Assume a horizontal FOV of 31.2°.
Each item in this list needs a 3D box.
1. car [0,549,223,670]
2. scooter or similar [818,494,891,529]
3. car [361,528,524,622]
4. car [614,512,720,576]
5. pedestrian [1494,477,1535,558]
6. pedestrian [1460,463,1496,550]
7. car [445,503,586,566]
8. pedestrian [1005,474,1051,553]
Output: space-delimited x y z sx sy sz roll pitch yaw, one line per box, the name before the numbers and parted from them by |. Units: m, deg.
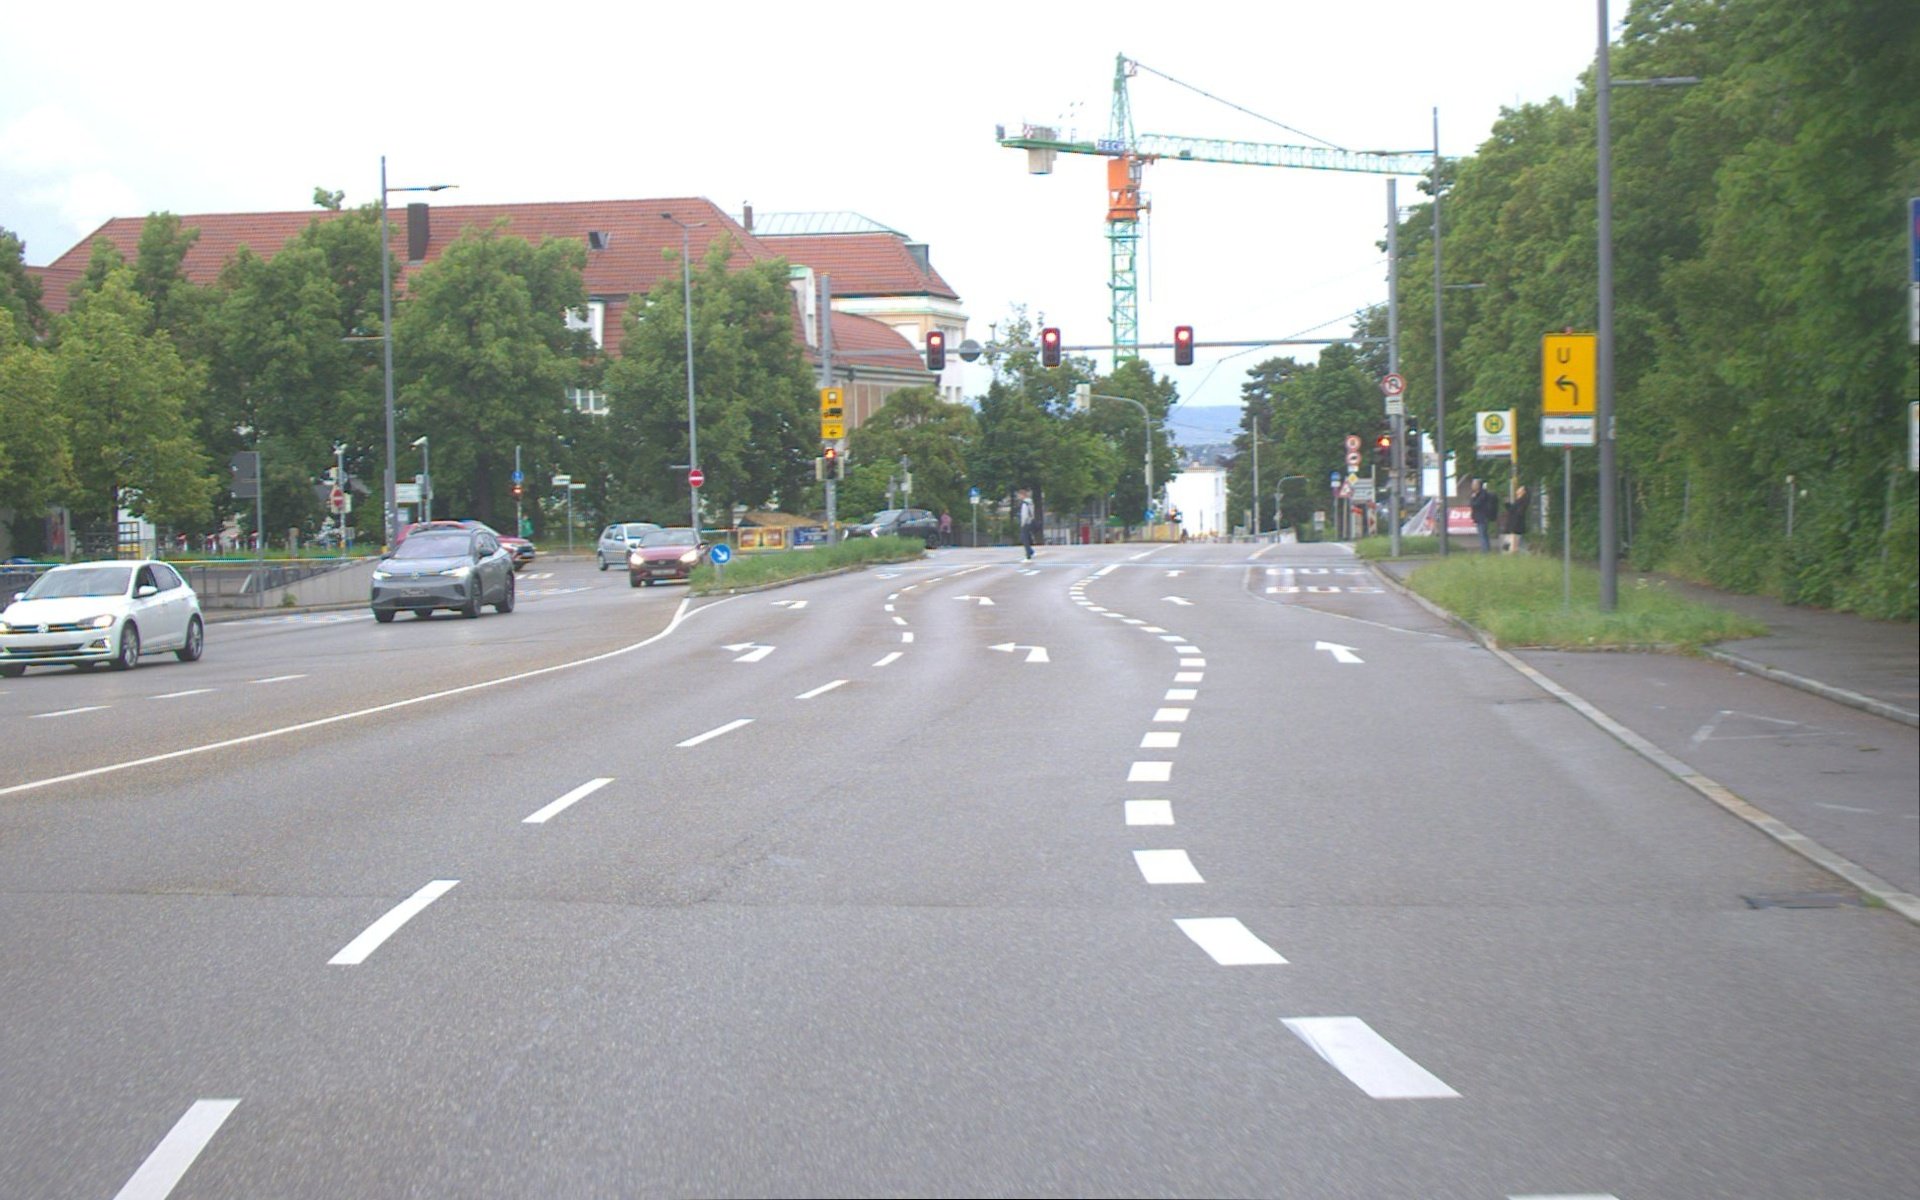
car | -11.275 0.096 45.218 1.873 1.425 4.175 -3 1 5
scooter or similar | -4.615 -3.875 150.500 3.088 1.435 0.949 -1 1 4
car | -9.464 -0.486 63.221 1.832 1.567 4.593 -3 1 5
car | -7.354 -1.428 86.730 1.832 1.411 4.465 -3 2 5
pedestrian | 11.543 -1.716 71.594 0.675 1.652 0.793 -2 2 0
pedestrian | 11.475 -2.070 76.181 0.640 1.894 0.718 -2 2 0
car | -14.130 -2.085 109.281 3.993 1.910 1.997 0 1 28
pedestrian | 1.763 -2.261 89.634 0.940 2.006 0.847 -4 1 11
